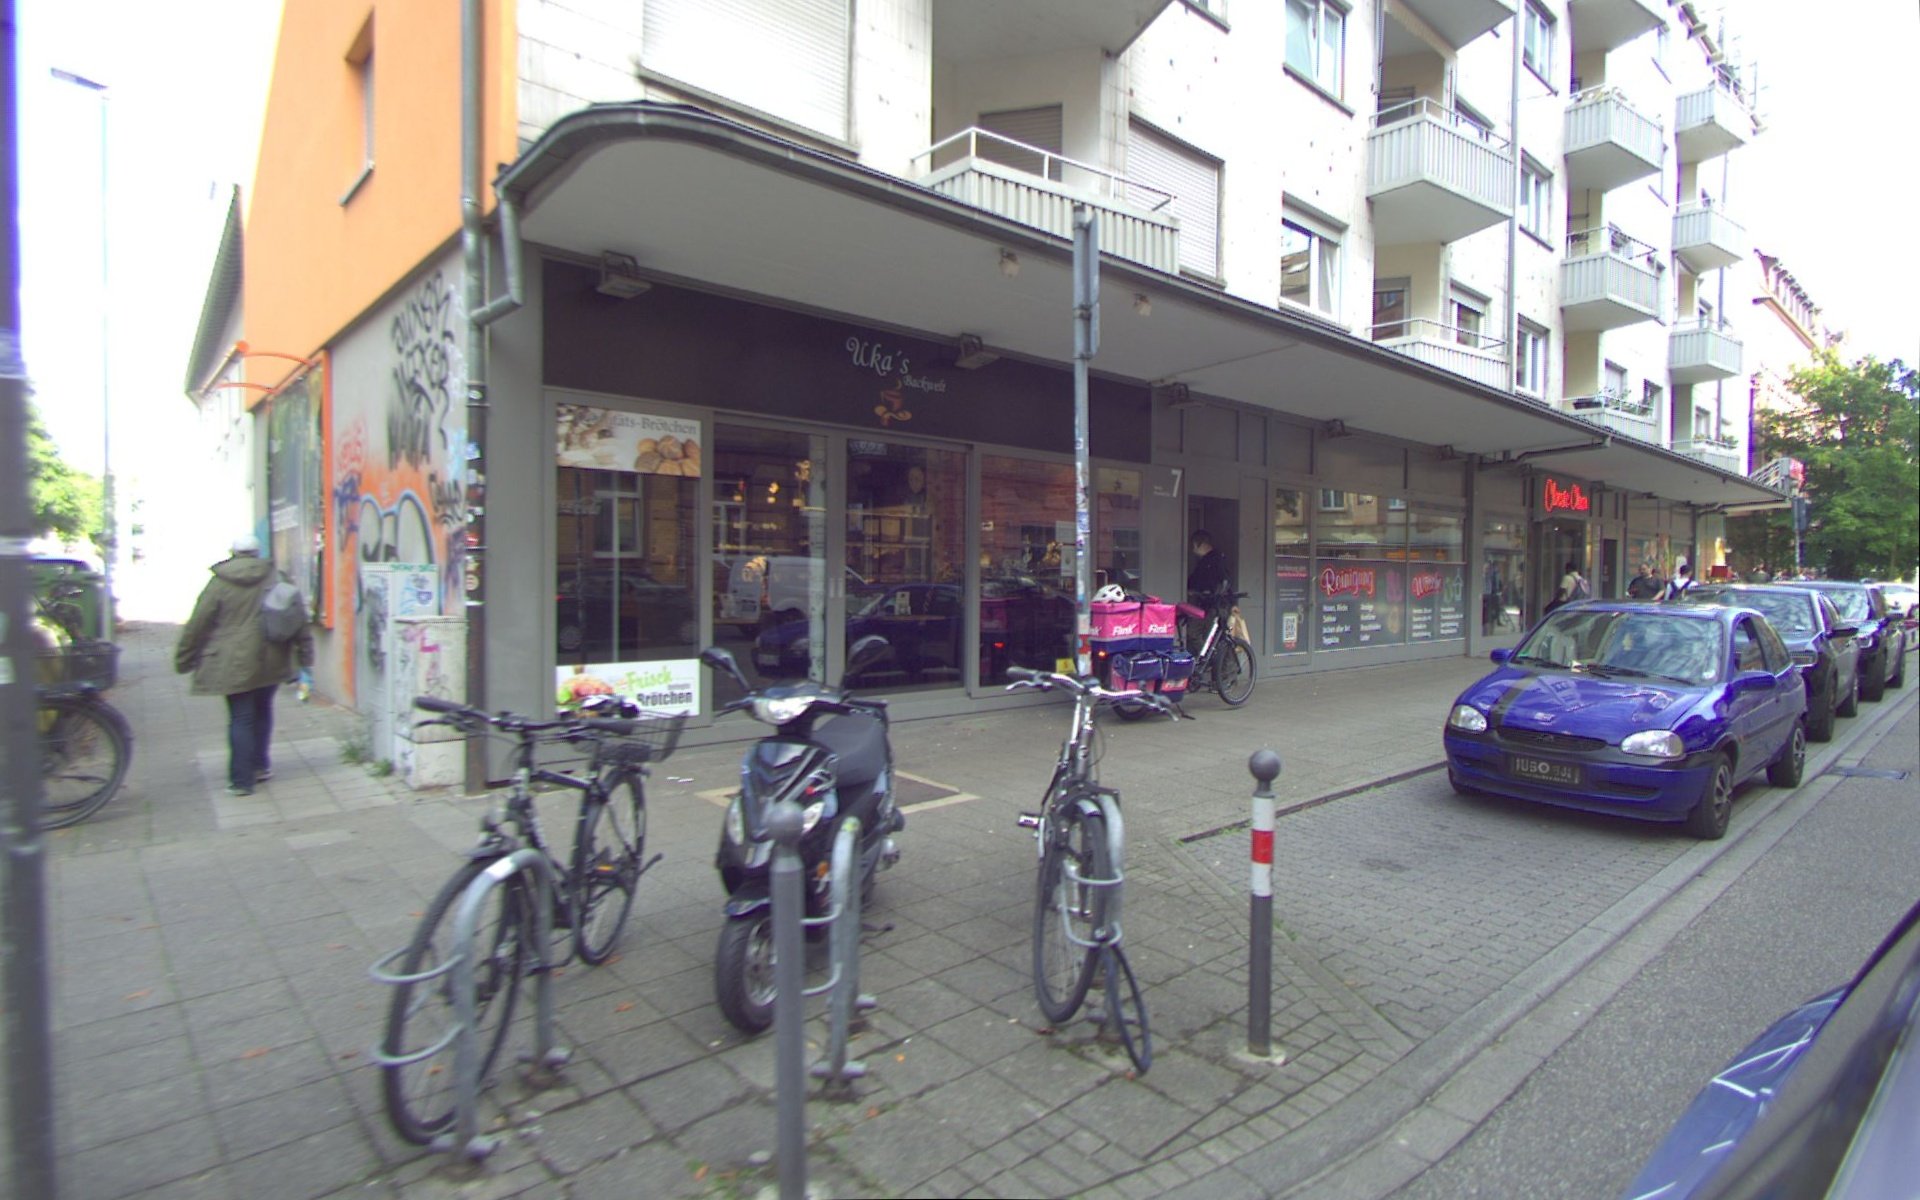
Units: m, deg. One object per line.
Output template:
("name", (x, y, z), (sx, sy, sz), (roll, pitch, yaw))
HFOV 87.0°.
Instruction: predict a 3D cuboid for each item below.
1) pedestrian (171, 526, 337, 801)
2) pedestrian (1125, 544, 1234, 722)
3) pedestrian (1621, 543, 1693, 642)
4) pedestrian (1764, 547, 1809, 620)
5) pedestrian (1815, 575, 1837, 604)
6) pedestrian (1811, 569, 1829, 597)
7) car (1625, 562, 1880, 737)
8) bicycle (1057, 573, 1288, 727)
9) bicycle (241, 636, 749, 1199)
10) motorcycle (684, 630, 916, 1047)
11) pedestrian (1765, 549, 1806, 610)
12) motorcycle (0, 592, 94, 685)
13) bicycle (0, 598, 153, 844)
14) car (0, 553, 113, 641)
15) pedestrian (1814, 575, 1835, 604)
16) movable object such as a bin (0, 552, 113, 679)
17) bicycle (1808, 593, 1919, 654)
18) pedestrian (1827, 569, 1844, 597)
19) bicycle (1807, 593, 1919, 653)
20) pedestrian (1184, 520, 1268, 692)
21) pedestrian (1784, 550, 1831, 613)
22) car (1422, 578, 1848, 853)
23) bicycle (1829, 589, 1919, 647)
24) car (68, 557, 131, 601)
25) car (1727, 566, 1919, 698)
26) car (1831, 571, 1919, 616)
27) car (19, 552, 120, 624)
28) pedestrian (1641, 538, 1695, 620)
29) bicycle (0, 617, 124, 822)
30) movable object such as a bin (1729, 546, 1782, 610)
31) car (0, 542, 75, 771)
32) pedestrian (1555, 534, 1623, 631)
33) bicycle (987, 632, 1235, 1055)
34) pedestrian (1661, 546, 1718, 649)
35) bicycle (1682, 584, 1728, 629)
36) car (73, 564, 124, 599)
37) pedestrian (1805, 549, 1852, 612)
("pedestrian", (-4.518, 0.355, 6.474), (0.812, 1.608, 0.780), (-1, 2, -40))
("pedestrian", (2.099, 0.282, 9.686), (0.767, 1.608, 0.645), (-1, 3, -40))
("pedestrian", (13.142, -0.154, 19.083), (1.032, 1.768, 0.850), (0, 4, -44))
("pedestrian", (20.365, -0.412, 24.933), (0.763, 1.775, 0.915), (2, 1, 45))
("pedestrian", (40.526, -0.489, 47.375), (0.725, 1.332, 0.514), (0, 0, 36))
("pedestrian", (42.725, -0.848, 50.275), (0.462, 1.343, 0.617), (1, 2, 24))
("car", (8.902, 0.416, 11.256), (3.838, 1.596, 1.690), (-1, 2, -44))
("bicycle", (2.143, 0.408, 9.961), (2.456, 1.306, 0.920), (-1, 3, -42))
("bicycle", (-1.222, 0.758, 3.183), (0.677, 1.108, 1.964), (2, 3, 0))
("motorcycle", (-0.515, 0.738, 3.844), (0.597, 1.108, 1.666), (1, 3, 0))
("pedestrian", (25.166, -0.633, 30.859), (0.645, 1.819, 0.656), (2, 3, -29))
("motorcycle", (-11.047, 0.436, 11.257), (0.657, 1.015, 2.087), (1, 2, 42))
("bicycle", (-5.235, 0.625, 4.968), (0.533, 1.206, 1.907), (1, 2, 39))
("car", (-18.051, -0.100, 20.193), (1.604, 1.588, 3.897), (0, 2, -38))
("pedestrian", (40.824, -0.493, 47.788), (0.725, 1.332, 0.514), (0, 0, 36))
("movable object such as a bin", (-11.893, 0.192, 12.355), (1.310, 1.474, 2.166), (0, 3, 41))
("bicycle", (18.156, 0.460, 20.208), (1.785, 1.084, 0.578), (4, 3, 39))
("pedestrian", (42.948, -0.845, 49.648), (0.462, 1.343, 0.617), (1, 2, 24))
("bicycle", (18.547, 0.449, 20.705), (1.785, 1.084, 0.561), (4, 3, 39))
("pedestrian", (3.000, 0.056, 11.454), (0.631, 1.883, 0.711), (0, 1, -13))
("pedestrian", (25.136, -0.557, 30.025), (0.619, 1.819, 0.716), (3, 3, -9))
("car", (5.078, 0.600, 7.399), (3.960, 1.457, 1.598), (-1, 2, -41))
("bicycle", (20.394, 0.382, 22.198), (0.892, 1.139, 1.885), (0, 4, -44))
("car", (-30.607, -0.752, 36.071), (1.555, 1.482, 3.461), (0, 1, -38))
("car", (12.624, 0.361, 14.609), (3.857, 1.625, 1.795), (-1, 2, -43))
("car", (35.728, -0.248, 37.607), (4.799, 1.617, 1.923), (1, 1, 32))
("car", (-21.319, -0.310, 24.324), (1.604, 1.588, 3.461), (0, 2, -38))
("pedestrian", (14.772, -0.437, 21.127), (0.700, 1.652, 0.723), (0, 4, -44))
("bicycle", (-5.651, 0.677, 5.298), (0.444, 1.077, 1.900), (1, 3, 39))
("movable object such as a bin", (22.798, -0.624, 29.004), (2.382, 1.766, 0.781), (-1, 2, -42))
("car", (-8.001, 0.334, 7.784), (1.766, 1.519, 3.791), (-2, 3, -41))
("pedestrian", (11.856, -0.337, 19.076), (0.703, 1.768, 0.816), (0, 3, -40))
("bicycle", (0.469, 0.754, 3.892), (0.671, 1.108, 1.770), (1, 3, 0))
("pedestrian", (12.805, -0.050, 17.754), (1.108, 1.748, 0.612), (0, 0, -43))
("bicycle", (19.191, 0.143, 26.092), (0.672, 1.055, 1.718), (1, 3, 28))
("car", (-38.160, -0.804, 44.894), (1.555, 1.482, 3.765), (0, 0, -38))
("pedestrian", (25.855, -0.589, 30.132), (0.704, 1.819, 0.630), (4, 3, 13))
